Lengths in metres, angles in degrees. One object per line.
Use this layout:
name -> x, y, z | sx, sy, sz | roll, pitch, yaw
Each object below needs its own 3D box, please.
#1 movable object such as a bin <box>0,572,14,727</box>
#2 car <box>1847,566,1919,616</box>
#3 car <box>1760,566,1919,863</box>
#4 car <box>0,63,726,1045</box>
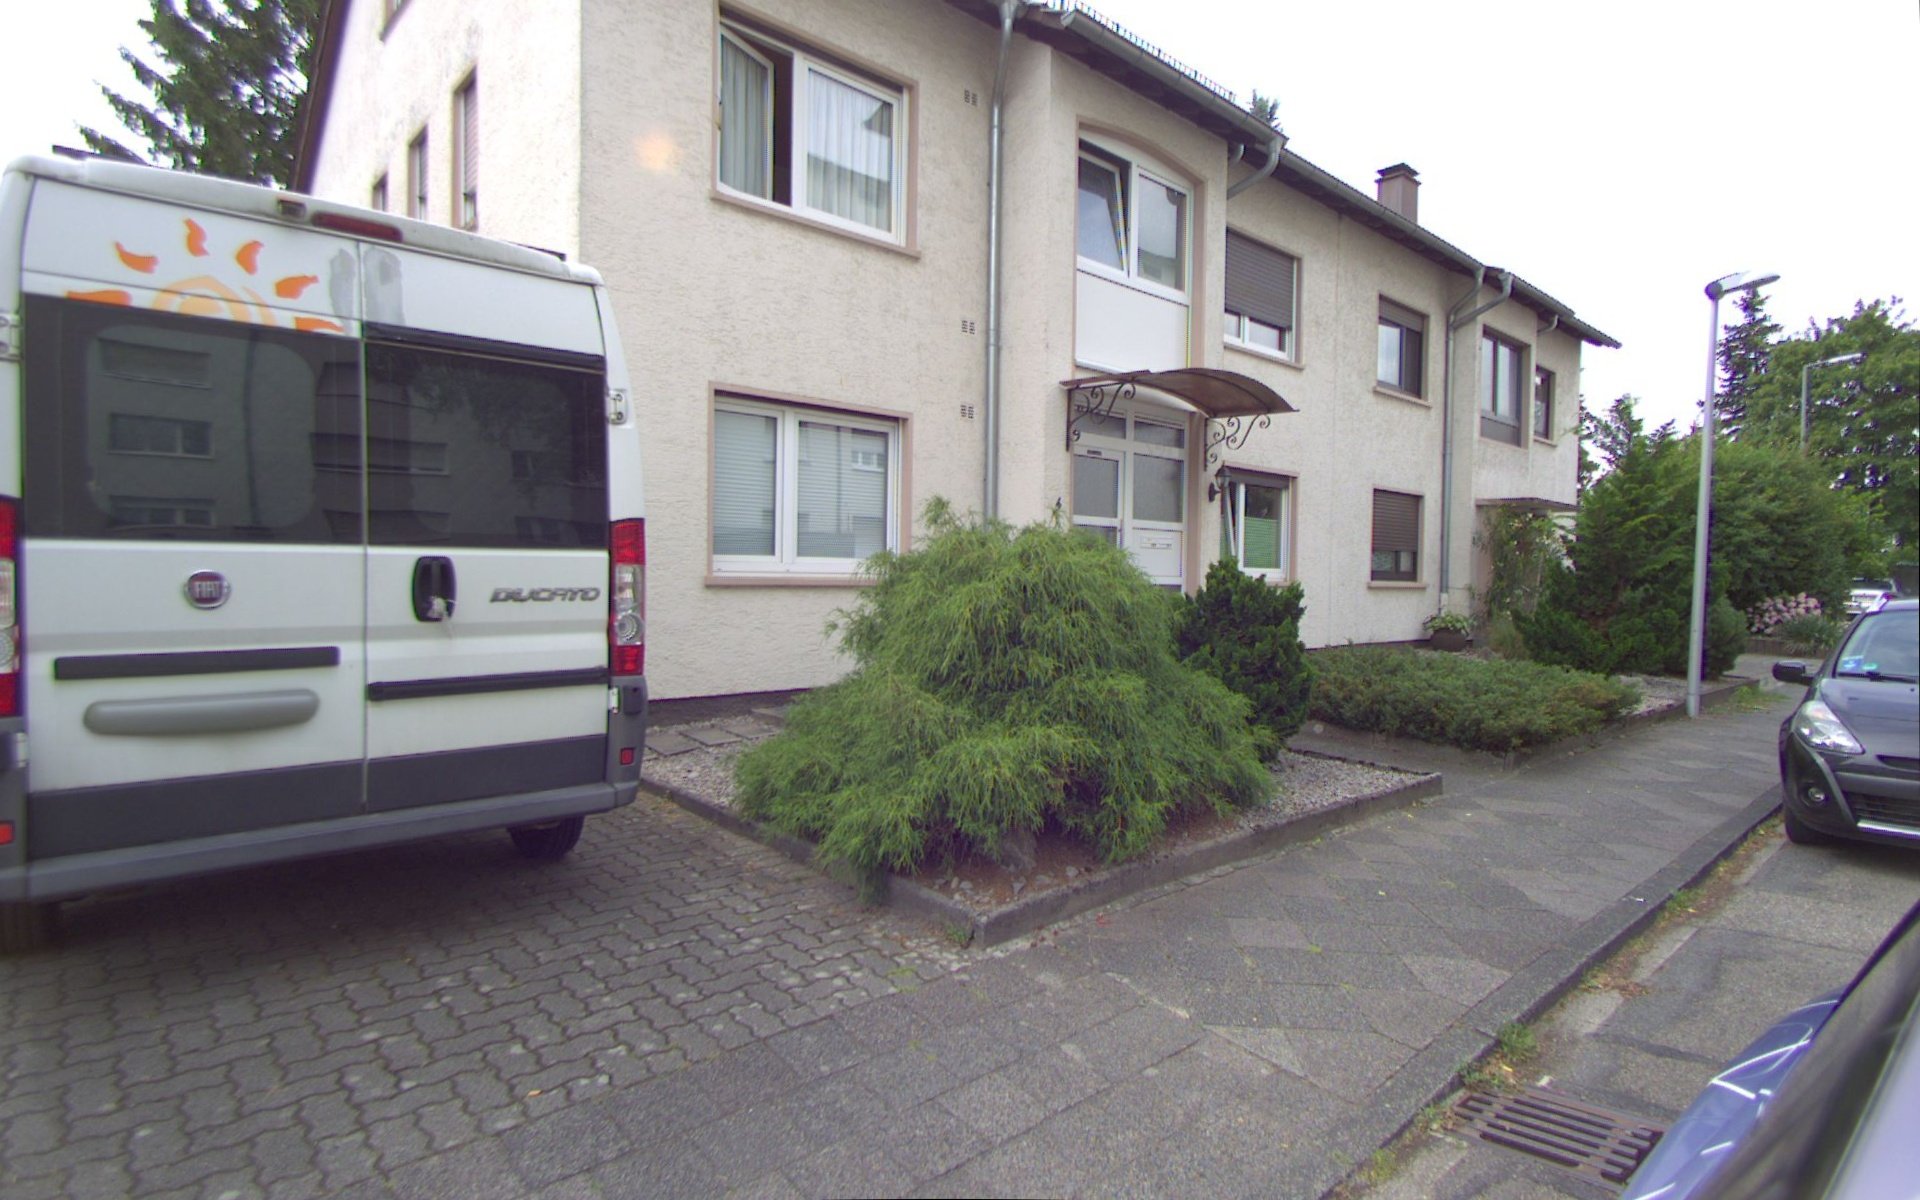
movable object such as a bin -> -7.040, 0.346, 7.125 | 0.537, 1.069, 0.456 | -1, 4, -43
car -> 30.414, -0.348, 33.197 | 3.936, 1.484, 1.702 | -3, 4, -45
car -> 6.437, 0.552, 6.270 | 4.122, 1.476, 1.831 | -1, 1, -44
car -> -3.447, -0.250, 5.237 | 2.199, 2.573, 5.098 | 0, 3, -41
